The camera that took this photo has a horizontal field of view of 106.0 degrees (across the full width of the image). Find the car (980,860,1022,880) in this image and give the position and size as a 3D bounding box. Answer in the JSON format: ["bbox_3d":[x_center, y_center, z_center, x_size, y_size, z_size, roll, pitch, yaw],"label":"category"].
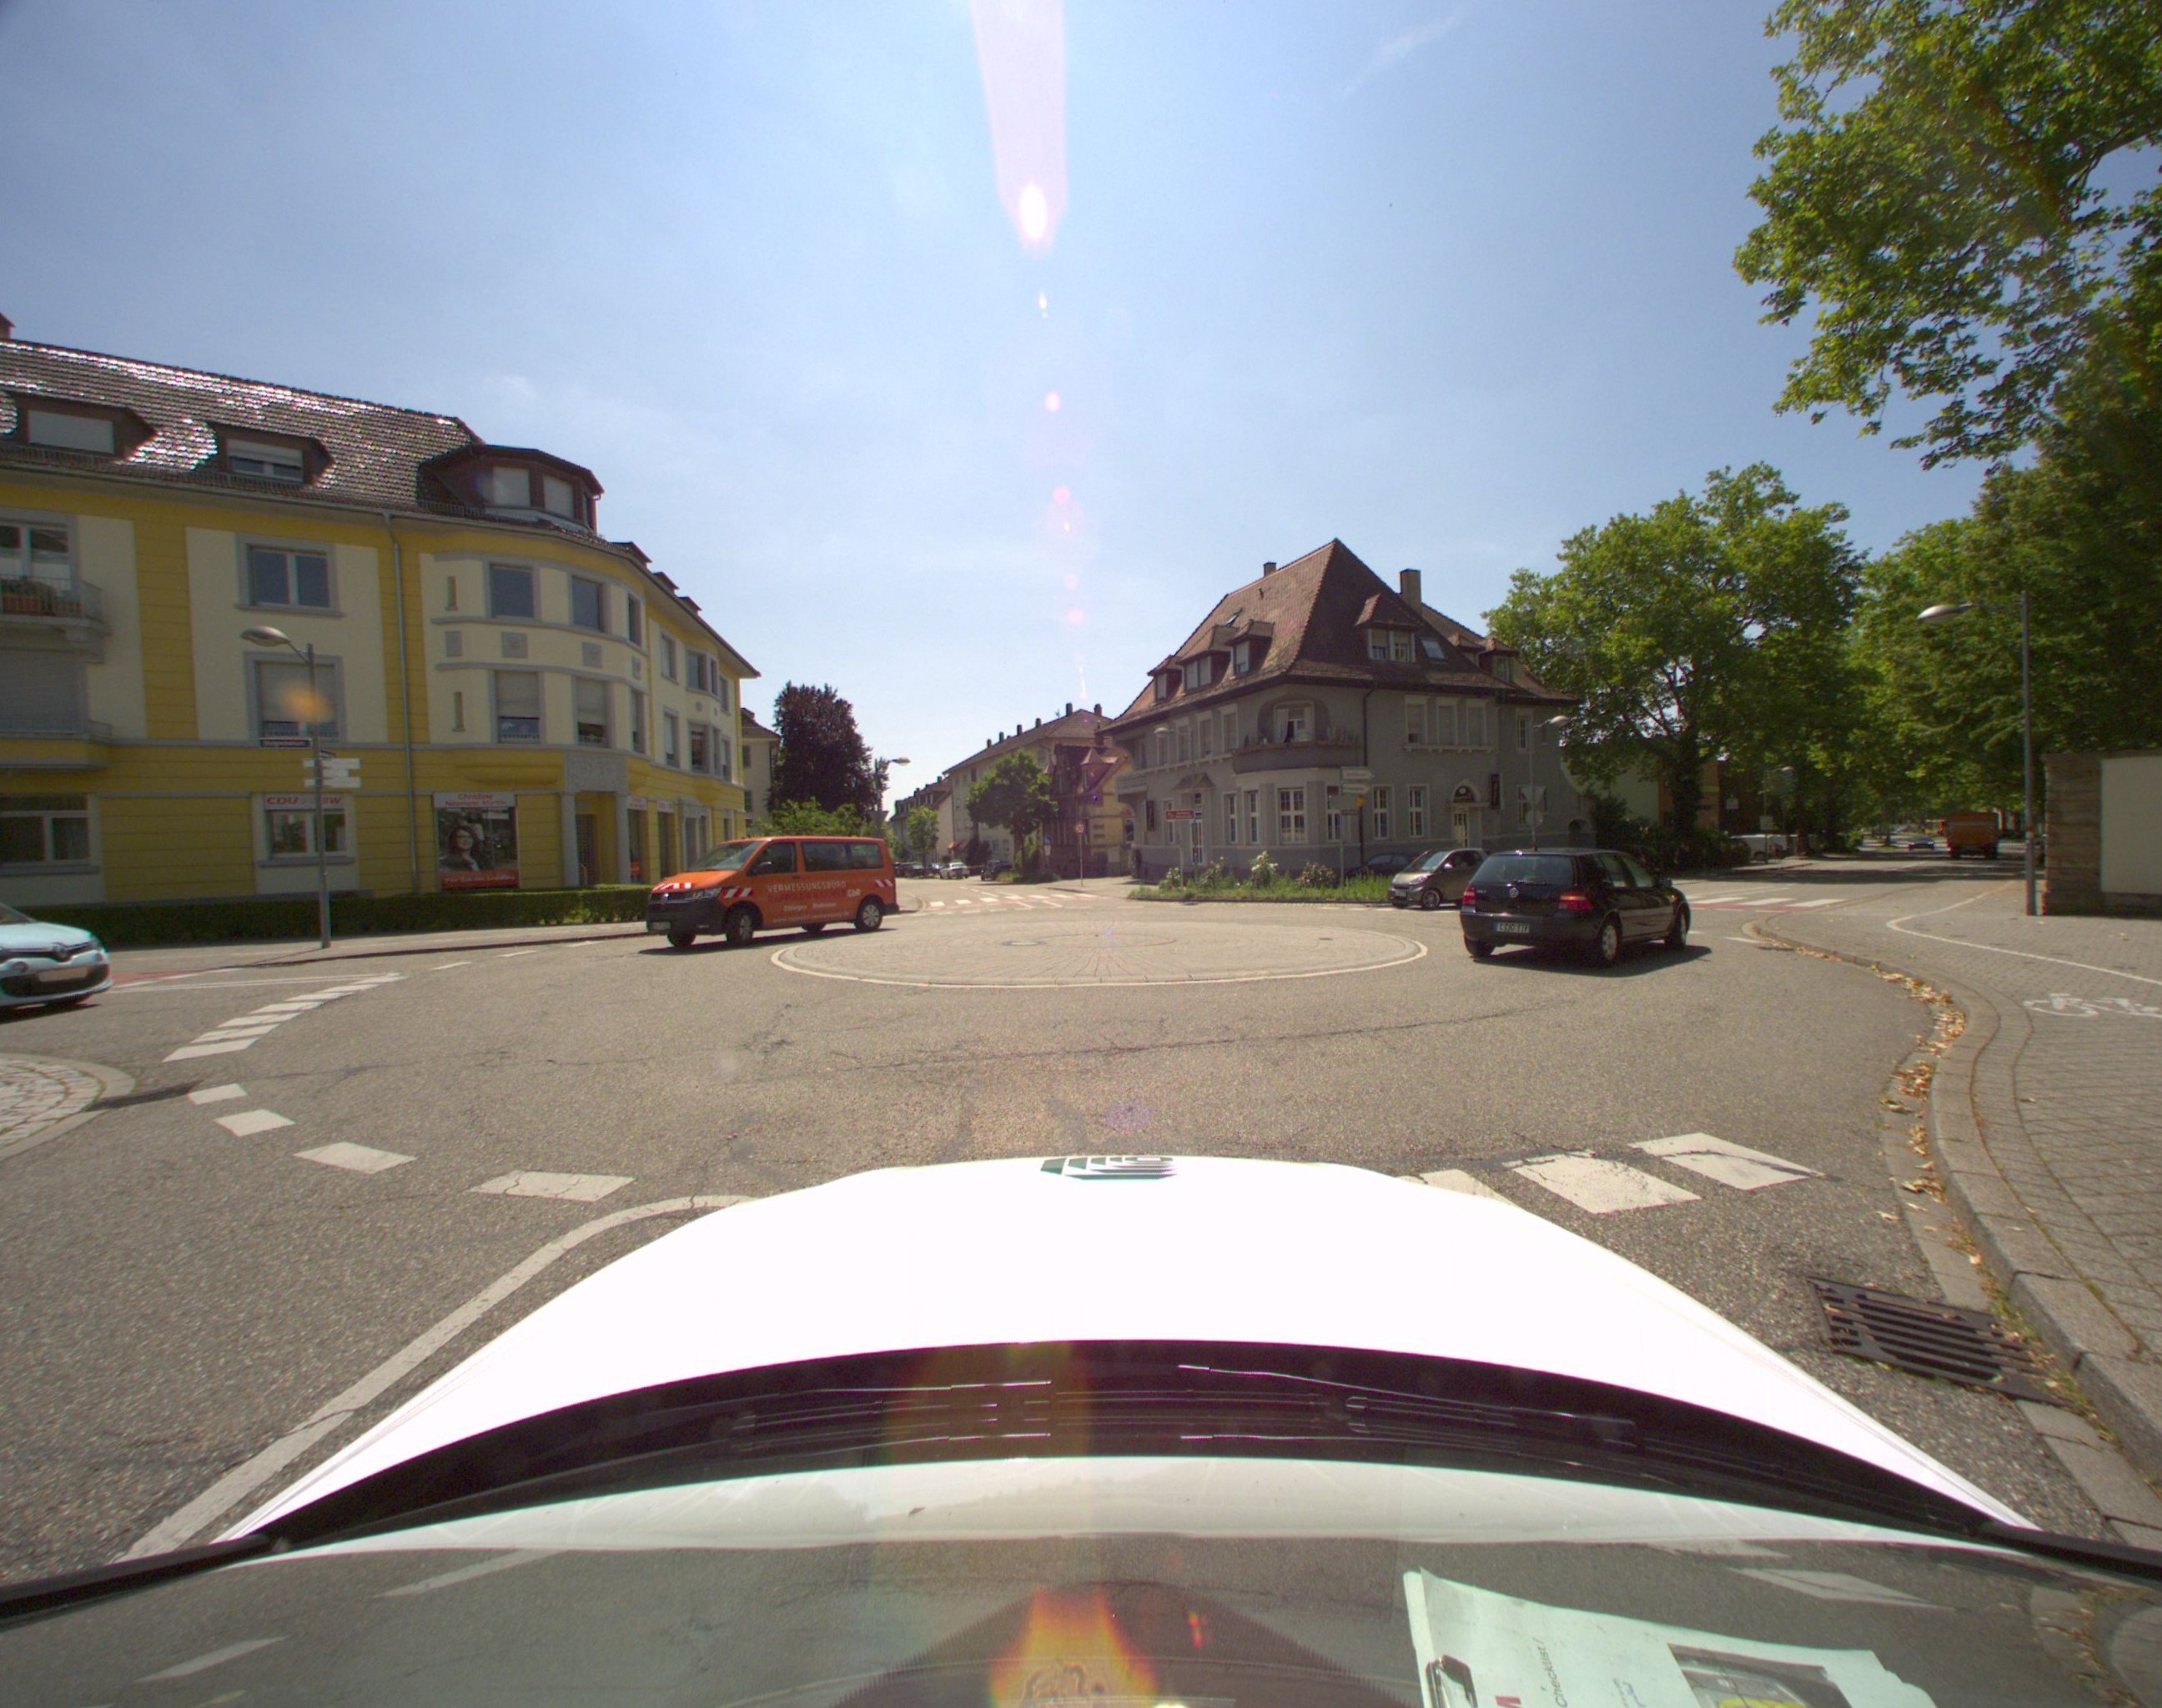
[{"bbox_3d":[-6.362,1.243,64.463,2.003,1.509,4.383,-1,0,-24],"label":"car"}]

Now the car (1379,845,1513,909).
[{"bbox_3d":[9.401,0.567,21.055,2.783,1.530,1.563,-1,0,-14],"label":"car"}]

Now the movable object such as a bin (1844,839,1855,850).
[{"bbox_3d":[73.477,-0.891,77.824,0.622,1.048,0.619,-1,0,-32],"label":"movable object such as a bin"}]

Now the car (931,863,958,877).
[{"bbox_3d":[-15.753,1.800,93.977,2.003,1.509,4.383,-1,0,-24],"label":"car"}]

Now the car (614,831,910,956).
[{"bbox_3d":[-5.824,0.587,15.625,1.925,1.959,5.053,-1,1,32],"label":"car"}]

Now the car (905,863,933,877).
[{"bbox_3d":[-17.756,1.750,89.067,2.003,1.509,4.383,-1,0,-24],"label":"car"}]

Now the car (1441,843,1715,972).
[{"bbox_3d":[6.841,0.581,11.077,4.074,1.447,1.698,-1,1,-35],"label":"car"}]

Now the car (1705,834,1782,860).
[{"bbox_3d":[46.746,-0.514,57.531,1.878,1.792,3.953,-1,2,-41],"label":"car"}]

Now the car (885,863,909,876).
[{"bbox_3d":[-22.463,1.907,99.231,2.003,1.509,4.383,-1,0,-24],"label":"car"}]

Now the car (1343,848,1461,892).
[{"bbox_3d":[11.572,0.551,29.584,1.728,1.460,3.758,-1,0,-28],"label":"car"}]

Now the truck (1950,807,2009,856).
[{"bbox_3d":[60.381,-1.435,54.713,5.798,3.134,2.350,0,-1,-39],"label":"truck"}]

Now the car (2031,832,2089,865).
[{"bbox_3d":[52.098,-0.318,43.306,4.803,1.557,1.727,-3,-1,-38],"label":"car"}]

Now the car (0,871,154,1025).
[{"bbox_3d":[-13.263,1.016,8.746,4.151,1.525,1.654,-1,1,-12],"label":"car"}]

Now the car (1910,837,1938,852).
[{"bbox_3d":[85.239,-1.008,82.325,4.417,1.426,1.753,-1,-1,-42],"label":"car"}]

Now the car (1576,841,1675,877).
[{"bbox_3d":[25.202,0.225,37.790,1.728,1.546,3.361,-1,0,-28],"label":"car"}]

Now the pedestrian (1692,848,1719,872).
[{"bbox_3d":[29.666,0.292,38.684,0.901,1.122,0.748,-1,-1,-35],"label":"pedestrian"}]

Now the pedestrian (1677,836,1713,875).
[{"bbox_3d":[27.641,0.057,36.664,1.115,1.742,0.867,-1,-1,-28],"label":"pedestrian"}]

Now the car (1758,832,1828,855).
[{"bbox_3d":[58.553,-0.887,67.023,1.913,1.804,4.093,-1,2,-41],"label":"car"}]

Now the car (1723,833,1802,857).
[{"bbox_3d":[52.015,-0.722,62.220,1.913,1.804,4.385,-1,2,-41],"label":"car"}]

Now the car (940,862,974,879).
[{"bbox_3d":[-11.518,1.526,75.277,2.003,1.509,4.383,-1,0,-24],"label":"car"}]

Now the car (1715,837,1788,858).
[{"bbox_3d":[49.986,-0.523,60.747,1.878,1.515,3.953,-1,2,-41],"label":"car"}]

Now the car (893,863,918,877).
[{"bbox_3d":[-20.361,1.836,94.467,2.003,1.509,4.383,-1,0,-24],"label":"car"}]
